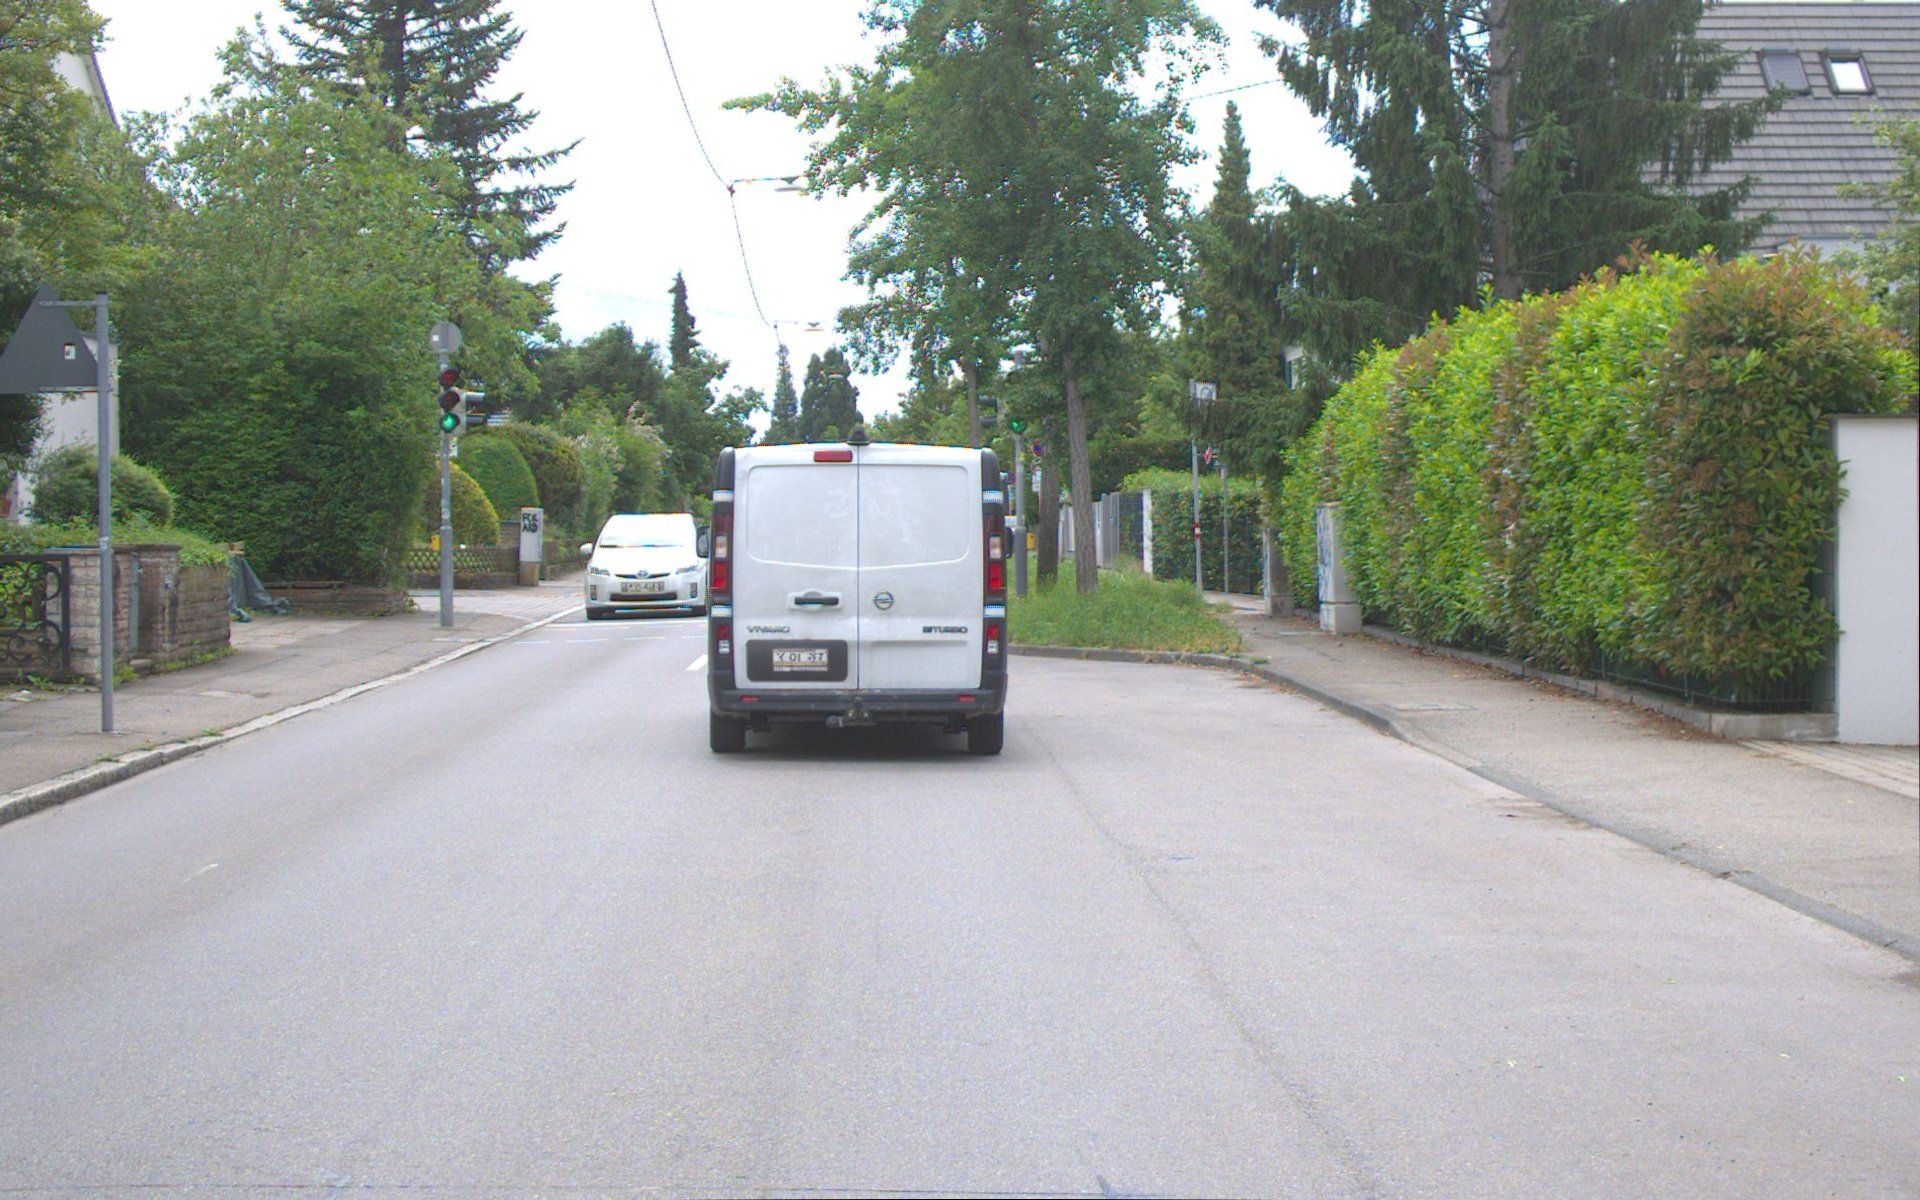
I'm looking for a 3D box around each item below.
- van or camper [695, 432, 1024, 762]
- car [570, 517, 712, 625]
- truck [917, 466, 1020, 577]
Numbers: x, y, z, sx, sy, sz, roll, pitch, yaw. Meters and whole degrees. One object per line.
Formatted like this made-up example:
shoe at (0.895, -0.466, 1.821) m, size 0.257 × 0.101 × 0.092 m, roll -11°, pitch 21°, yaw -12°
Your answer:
van or camper at (-0.689, -0.023, 22.923) m, size 1.939 × 1.947 × 4.765 m, roll 1°, pitch 0°, yaw -2°
car at (-4.655, -0.465, 50.666) m, size 1.854 × 1.446 × 4.282 m, roll -2°, pitch 2°, yaw -3°
truck at (0.145, -1.859, 81.257) m, size 2.187 × 2.463 × 7.431 m, roll 1°, pitch 1°, yaw -2°
